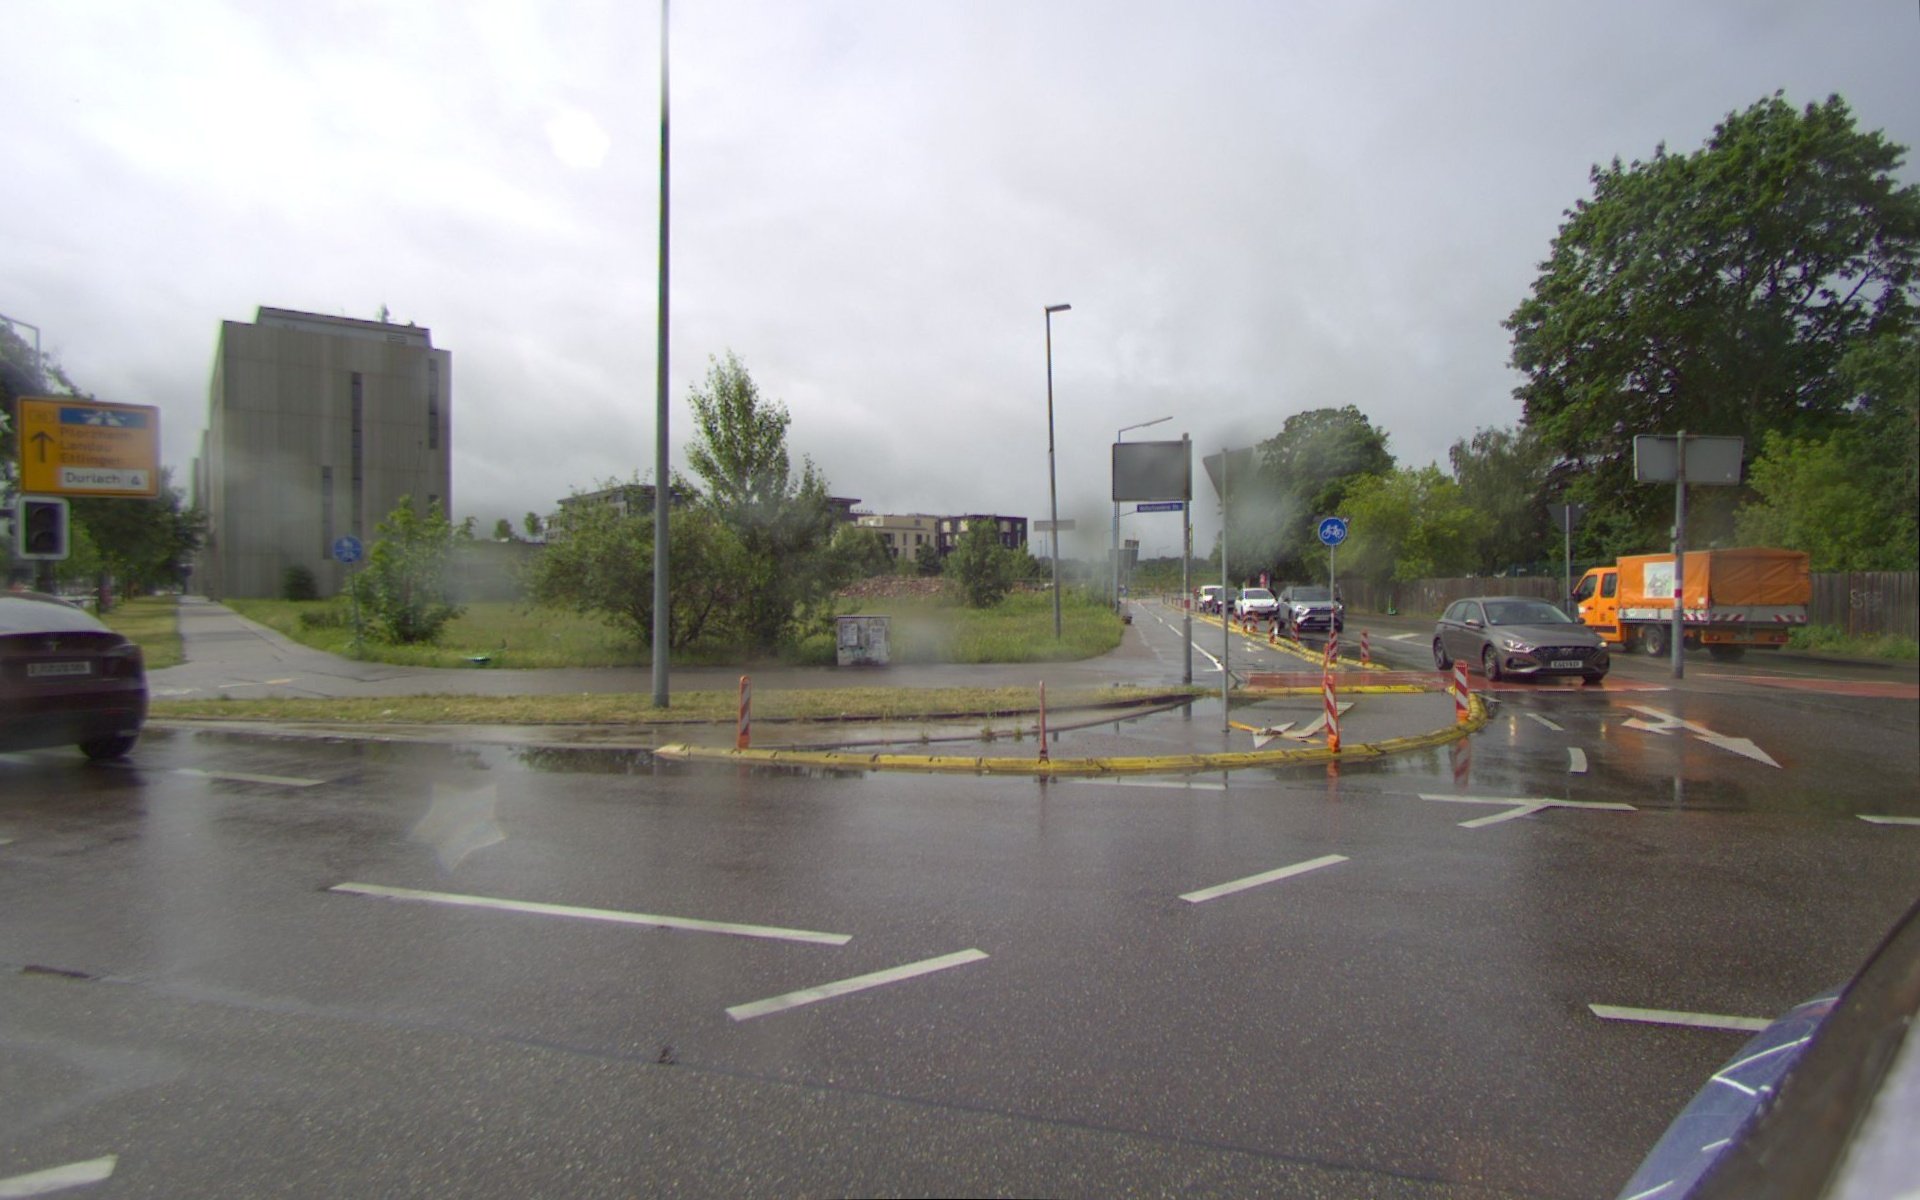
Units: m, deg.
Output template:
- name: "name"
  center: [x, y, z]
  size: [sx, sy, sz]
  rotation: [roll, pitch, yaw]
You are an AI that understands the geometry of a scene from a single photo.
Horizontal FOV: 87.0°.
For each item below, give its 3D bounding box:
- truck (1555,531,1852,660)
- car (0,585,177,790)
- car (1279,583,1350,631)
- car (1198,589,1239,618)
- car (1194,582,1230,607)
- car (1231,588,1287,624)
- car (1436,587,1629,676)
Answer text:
- name: "truck"
  center: [17.927, -0.129, 25.103]
  size: [2.416, 2.761, 6.942]
  rotation: [0, 0, 2]
- name: "car"
  center: [-9.736, 0.694, 9.526]
  size: [4.449, 1.678, 1.860]
  rotation: [1, 0, 24]
- name: "car"
  center: [13.316, 0.229, 38.242]
  size: [1.846, 1.684, 4.469]
  rotation: [-1, 0, 11]
- name: "car"
  center: [16.466, 0.190, 64.737]
  size: [1.843, 1.684, 4.476]
  rotation: [-2, 0, 6]
- name: "car"
  center: [18.381, -0.382, 73.966]
  size: [1.843, 1.684, 4.476]
  rotation: [-2, 0, 6]
- name: "car"
  center: [14.917, 0.271, 50.744]
  size: [1.843, 1.684, 4.476]
  rotation: [-2, 0, 6]
- name: "car"
  center: [10.204, 0.527, 18.413]
  size: [1.707, 1.431, 4.116]
  rotation: [-1, 0, 10]
